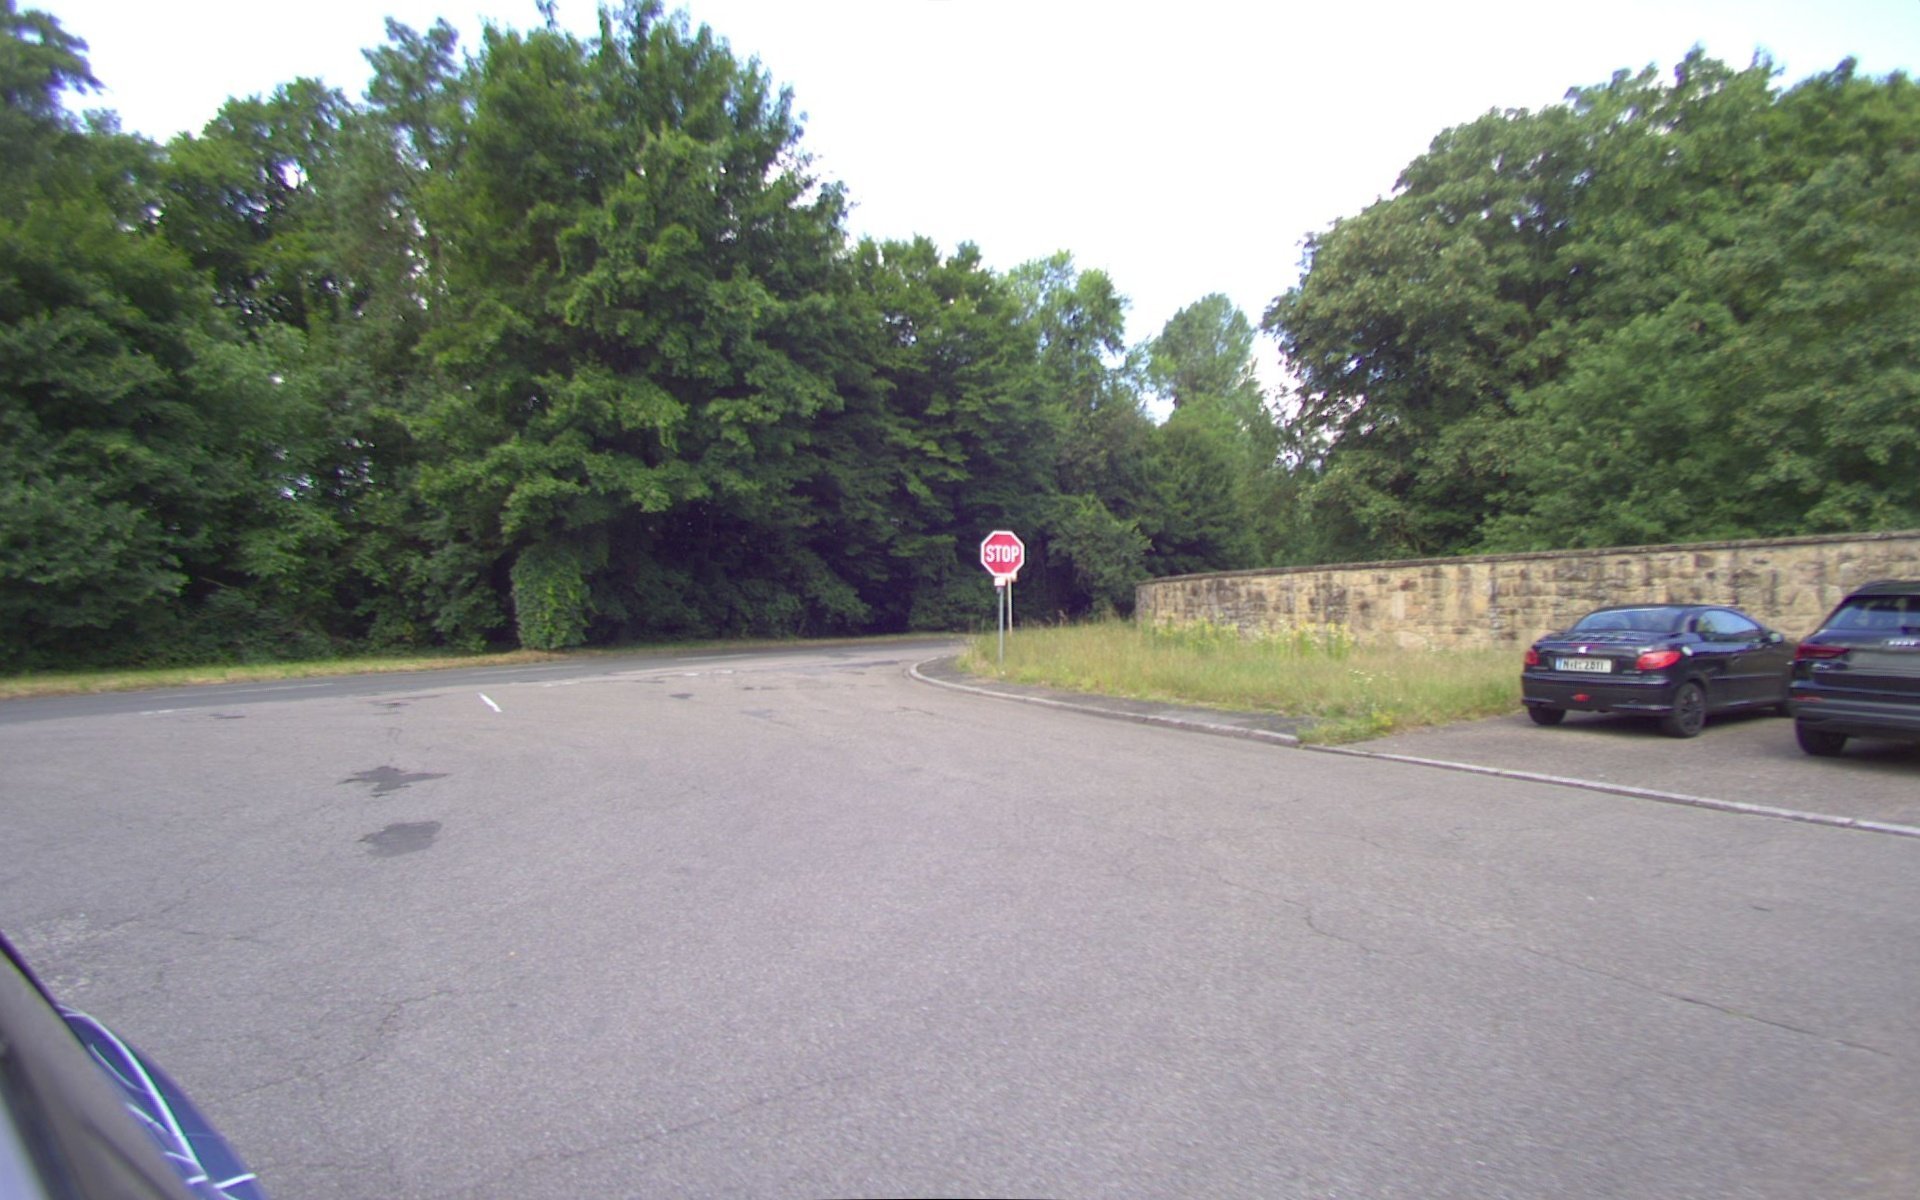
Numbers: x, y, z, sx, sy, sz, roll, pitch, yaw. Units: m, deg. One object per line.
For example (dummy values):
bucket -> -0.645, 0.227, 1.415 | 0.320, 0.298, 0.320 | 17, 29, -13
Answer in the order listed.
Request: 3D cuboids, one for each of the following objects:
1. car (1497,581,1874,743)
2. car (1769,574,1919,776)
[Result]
car -> 8.361, 0.610, 11.646 | 3.931, 1.452, 1.885 | -3, 0, -27
car -> 9.303, 0.534, 8.932 | 3.931, 1.558, 1.906 | -3, 0, -28
